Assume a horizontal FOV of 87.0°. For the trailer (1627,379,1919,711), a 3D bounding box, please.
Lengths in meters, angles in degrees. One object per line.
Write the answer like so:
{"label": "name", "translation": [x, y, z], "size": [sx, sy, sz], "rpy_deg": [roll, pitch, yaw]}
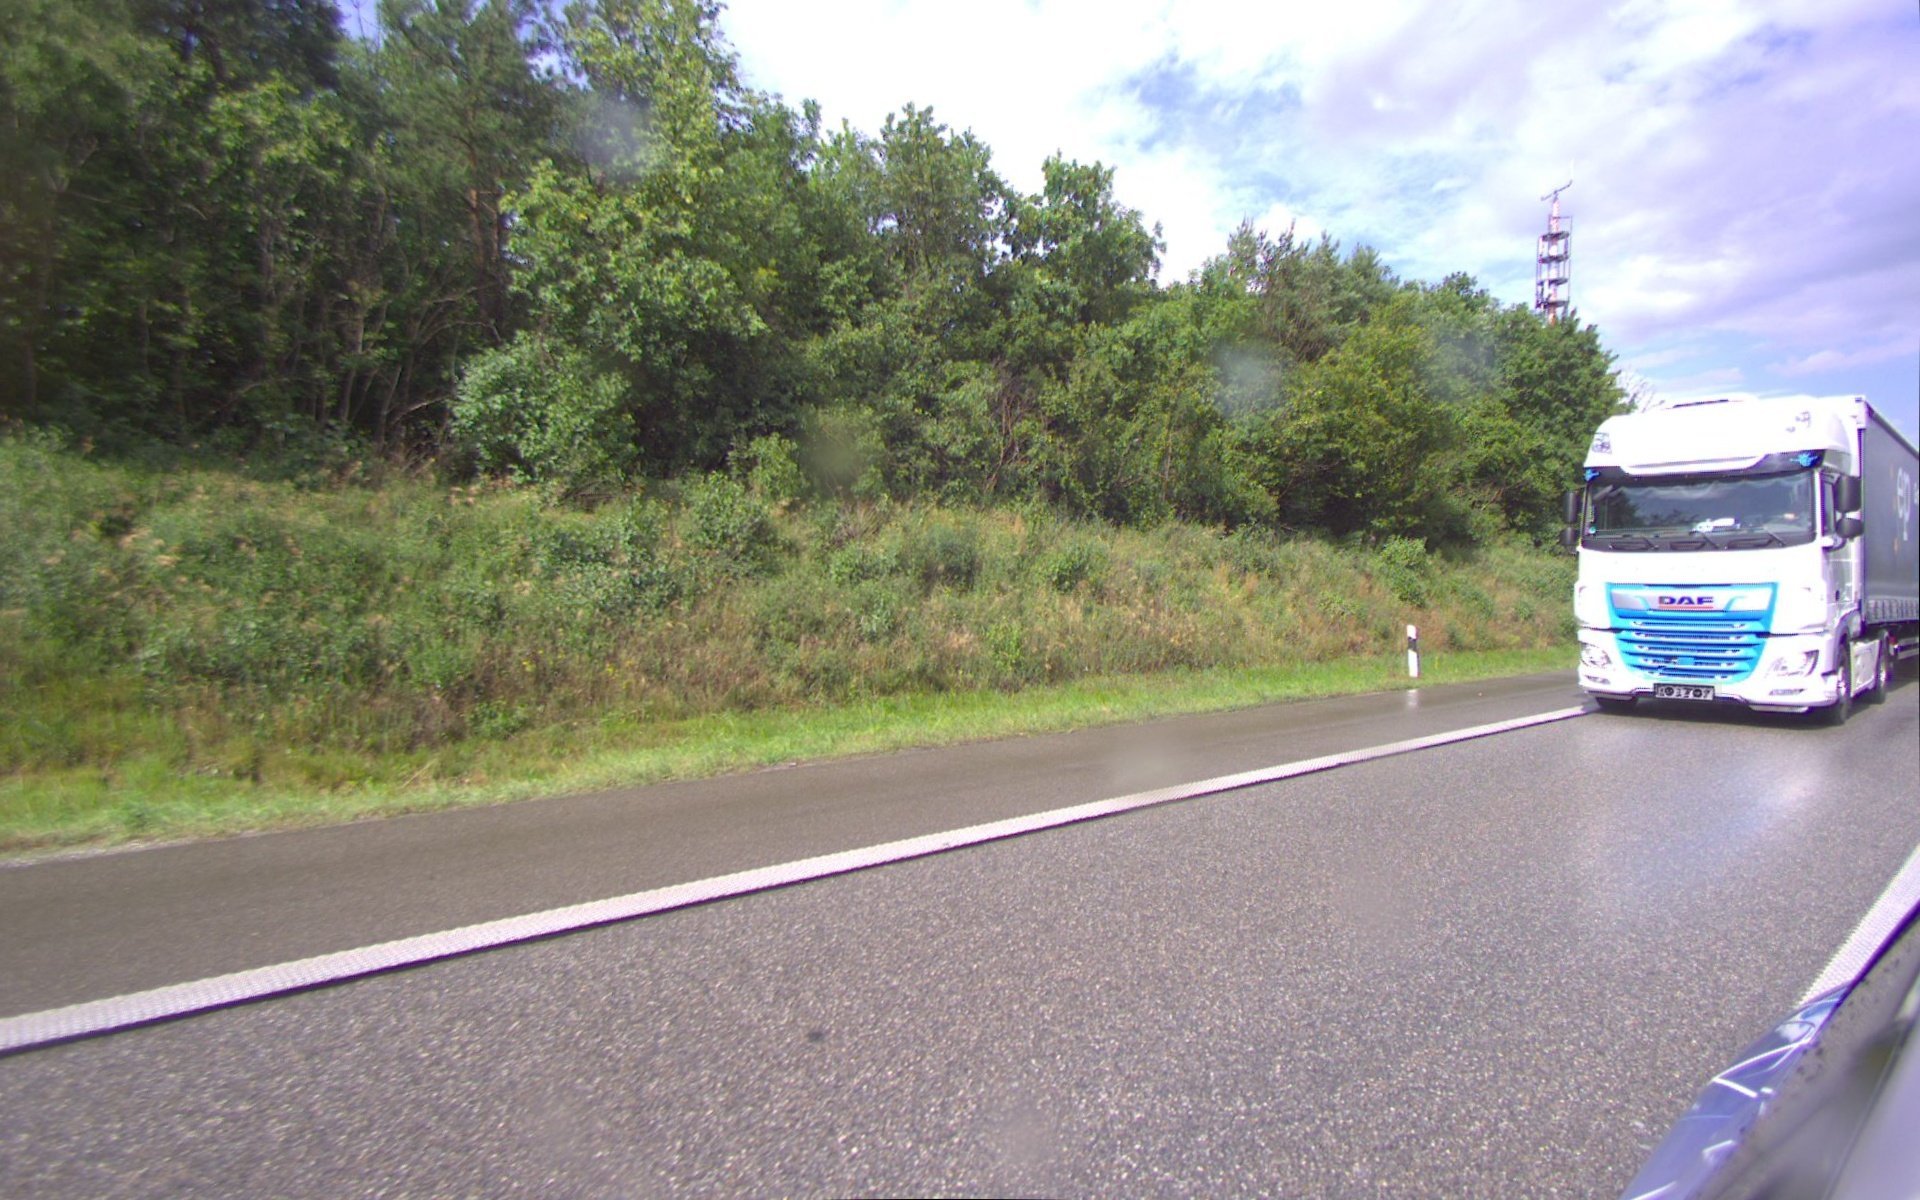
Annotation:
{"label": "trailer", "translation": [15.512, -0.725, 17.923], "size": [13.820, 4.046, 2.638], "rpy_deg": [0, 0, -41]}

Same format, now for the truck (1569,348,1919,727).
{"label": "truck", "translation": [11.233, -0.695, 14.159], "size": [7.164, 4.046, 2.611], "rpy_deg": [0, 0, -41]}
